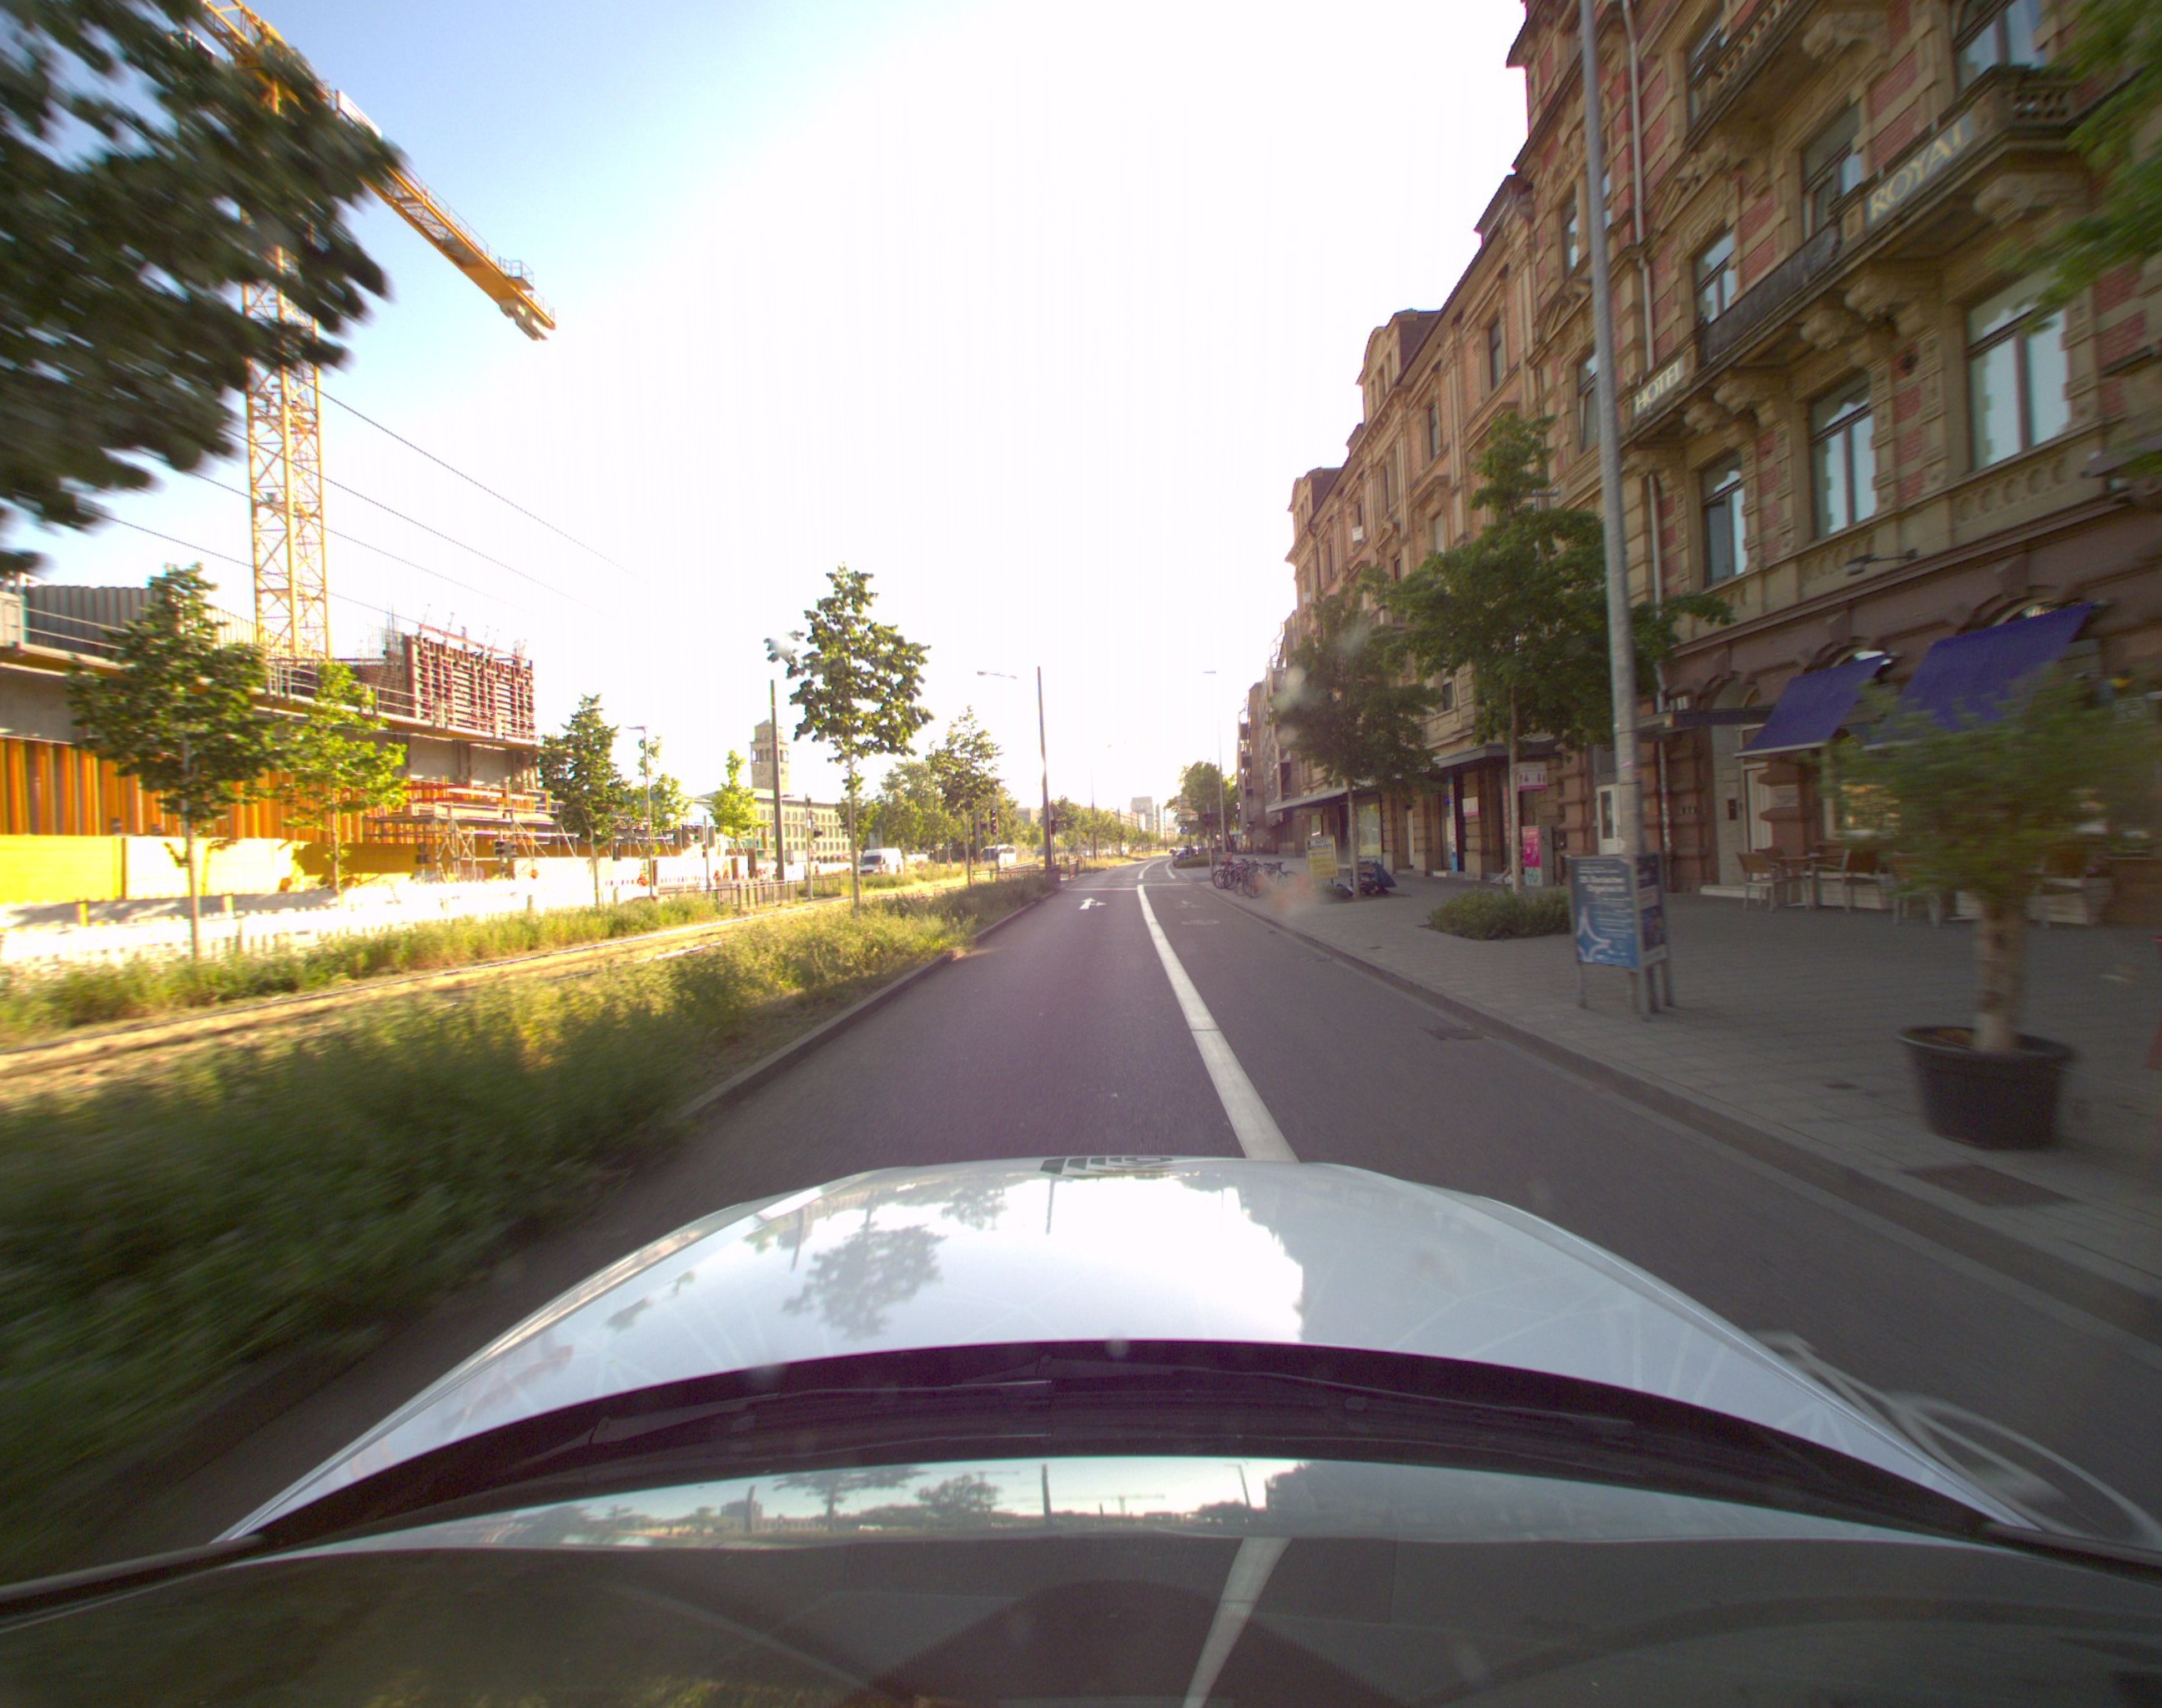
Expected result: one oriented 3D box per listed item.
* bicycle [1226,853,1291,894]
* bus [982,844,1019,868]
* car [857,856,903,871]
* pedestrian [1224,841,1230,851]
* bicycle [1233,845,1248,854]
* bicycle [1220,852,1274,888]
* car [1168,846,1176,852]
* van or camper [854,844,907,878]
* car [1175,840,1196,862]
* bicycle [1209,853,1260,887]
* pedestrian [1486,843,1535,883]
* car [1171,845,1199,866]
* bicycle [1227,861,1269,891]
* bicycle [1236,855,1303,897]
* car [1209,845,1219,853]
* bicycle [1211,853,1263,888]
[{"bbox_3d":[5.498,0.611,25.262,1.834,1.104,0.567,-5,0,7],"label":"bicycle"},{"bbox_3d":[-12.994,0.230,133.019,2.783,3.594,12.730,-2,0,9],"label":"bus"},{"bbox_3d":[-25.766,1.178,104.576,5.198,1.717,2.129,-2,0,7],"label":"car"},{"bbox_3d":[23.702,-1.301,132.409,0.784,1.648,1.139,-3,0,9],"label":"pedestrian"},{"bbox_3d":[21.338,-0.569,108.745,1.892,1.093,0.393,-4,0,3],"label":"bicycle"},{"bbox_3d":[5.774,0.569,28.354,1.712,1.104,0.508,-5,0,7],"label":"bicycle"},{"bbox_3d":[23.753,-1.228,212.915,1.766,1.428,4.010,-1,0,9],"label":"car"},{"bbox_3d":[-16.575,0.518,67.754,2.213,2.509,7.203,-4,1,1],"label":"van or camper"},{"bbox_3d":[10.099,-0.277,78.931,1.726,1.919,4.401,-4,0,6],"label":"car"},{"bbox_3d":[5.701,0.595,30.230,1.744,1.104,0.508,-5,0,7],"label":"bicycle"},{"bbox_3d":[10.891,0.215,20.662,0.810,0.962,0.805,-3,0,3],"label":"pedestrian"},{"bbox_3d":[9.084,0.131,71.523,1.924,1.598,4.702,-4,0,2],"label":"car"},{"bbox_3d":[5.517,0.718,26.915,1.268,0.877,0.508,-5,0,7],"label":"bicycle"},{"bbox_3d":[5.482,0.634,23.750,1.795,1.047,0.567,-5,0,7],"label":"bicycle"},{"bbox_3d":[27.947,-1.051,171.196,1.695,1.418,4.290,-5,0,11],"label":"car"},{"bbox_3d":[5.656,0.589,29.640,1.744,1.104,0.508,-5,0,7],"label":"bicycle"}]
